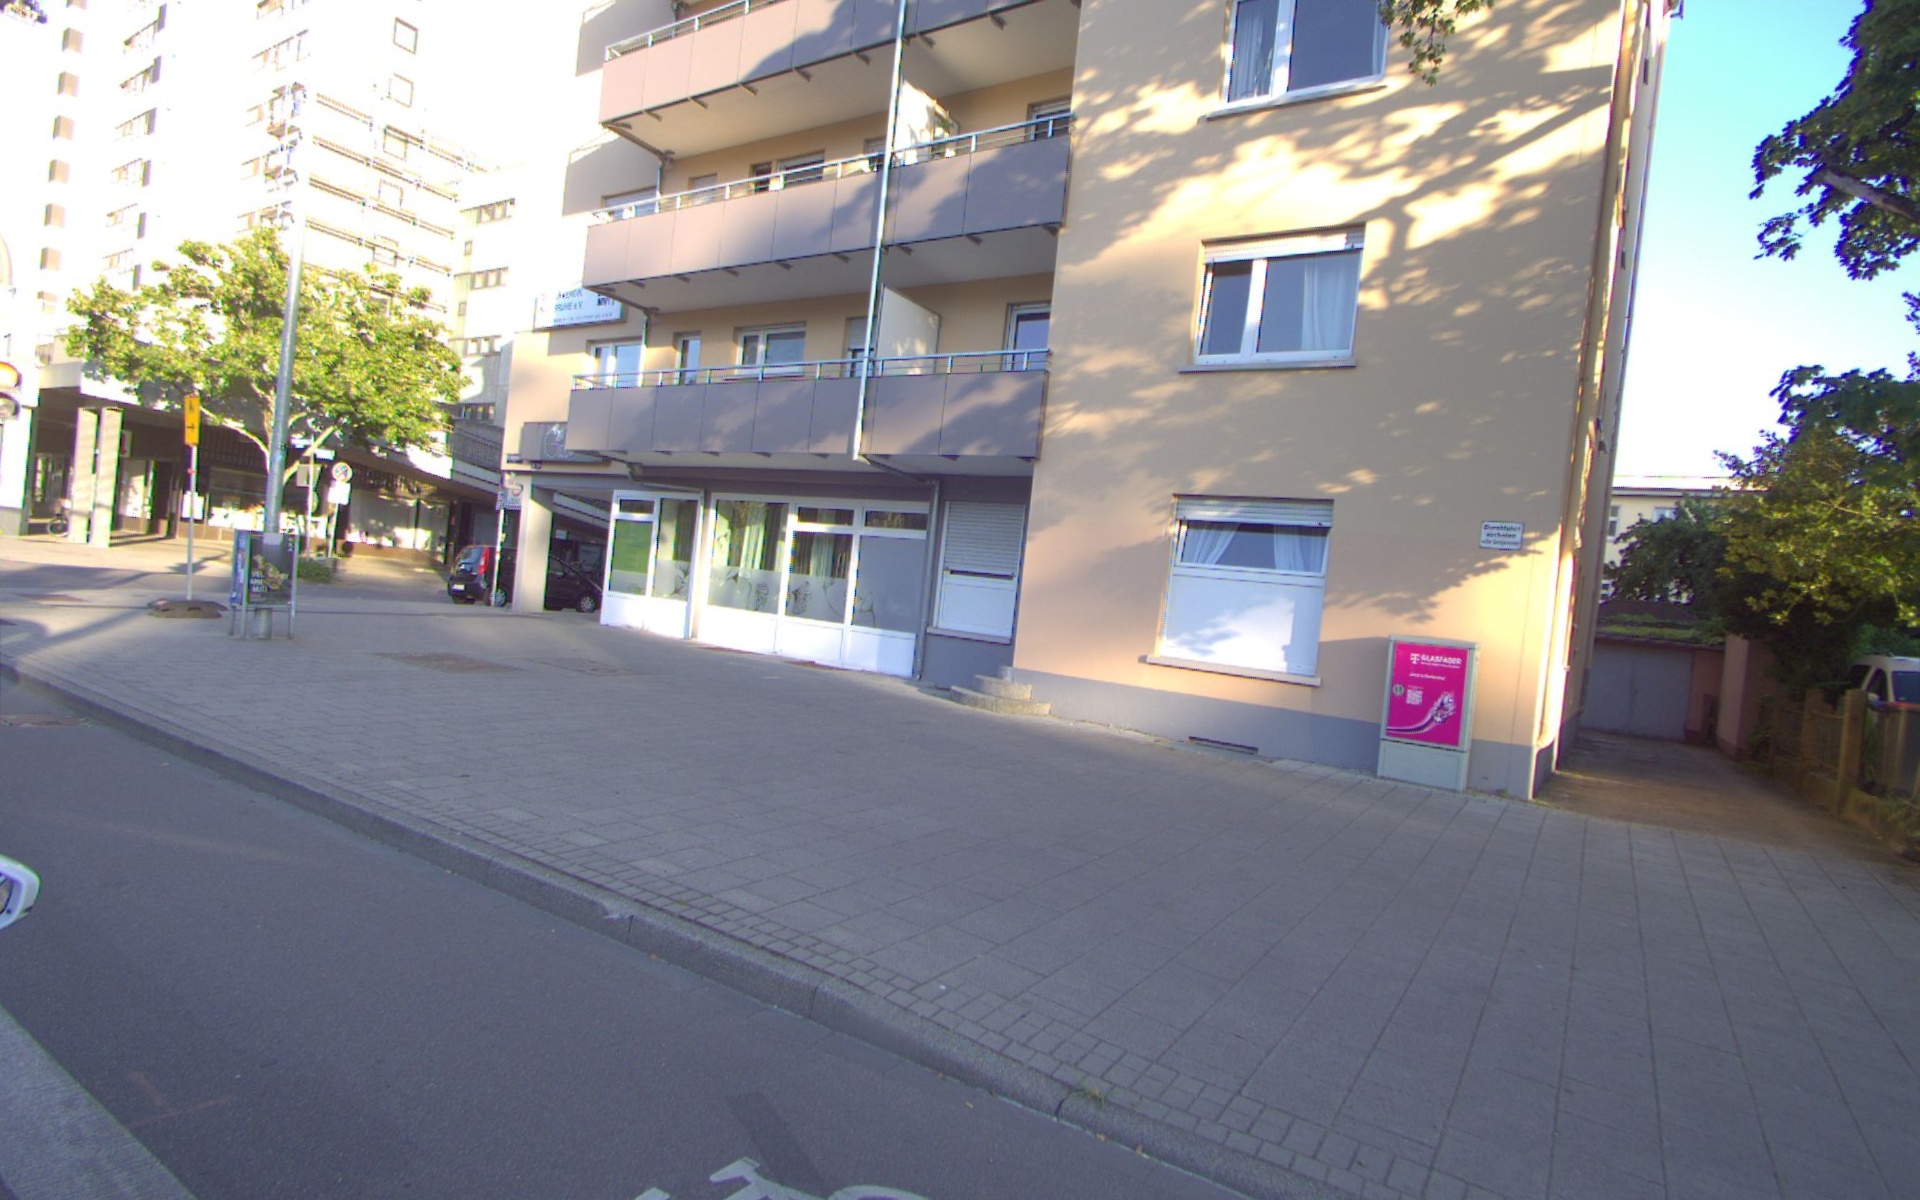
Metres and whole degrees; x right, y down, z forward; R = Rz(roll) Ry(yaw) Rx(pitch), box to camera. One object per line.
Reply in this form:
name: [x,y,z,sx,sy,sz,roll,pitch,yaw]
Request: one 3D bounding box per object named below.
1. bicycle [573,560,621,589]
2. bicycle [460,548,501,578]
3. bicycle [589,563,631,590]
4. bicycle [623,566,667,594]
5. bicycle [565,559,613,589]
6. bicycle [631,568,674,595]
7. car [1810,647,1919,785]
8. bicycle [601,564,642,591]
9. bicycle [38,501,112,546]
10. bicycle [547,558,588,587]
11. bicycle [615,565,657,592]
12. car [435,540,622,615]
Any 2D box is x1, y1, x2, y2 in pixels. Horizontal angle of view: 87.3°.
bicycle: [-16.804,-1.172,46.550,1.939,1.086,0.584,7,-2,9]
bicycle: [-20.186,-1.567,42.339,1.946,1.086,0.581,5,-3,35]
bicycle: [-16.321,-1.101,46.962,1.943,1.087,0.582,6,-3,29]
bicycle: [-15.134,-0.961,48.320,1.941,1.087,0.583,6,-2,21]
bicycle: [-16.995,-1.201,46.108,1.939,1.087,0.584,7,-2,13]
bicycle: [-14.957,-0.886,48.941,1.941,1.087,0.583,6,-2,21]
car: [14.586,1.738,14.969,1.794,1.780,4.513,8,2,27]
bicycle: [-15.956,-1.066,47.401,1.943,1.087,0.582,6,-3,29]
bicycle: [-28.967,-2.506,32.918,1.984,1.162,0.692,7,-2,14]
bicycle: [-17.376,-1.237,44.554,1.946,1.086,0.581,5,-3,35]
bicycle: [-15.381,-1.020,47.753,1.942,1.087,0.583,6,-3,26]
car: [-10.871,-0.528,25.559,1.680,1.605,4.037,3,-1,36]
